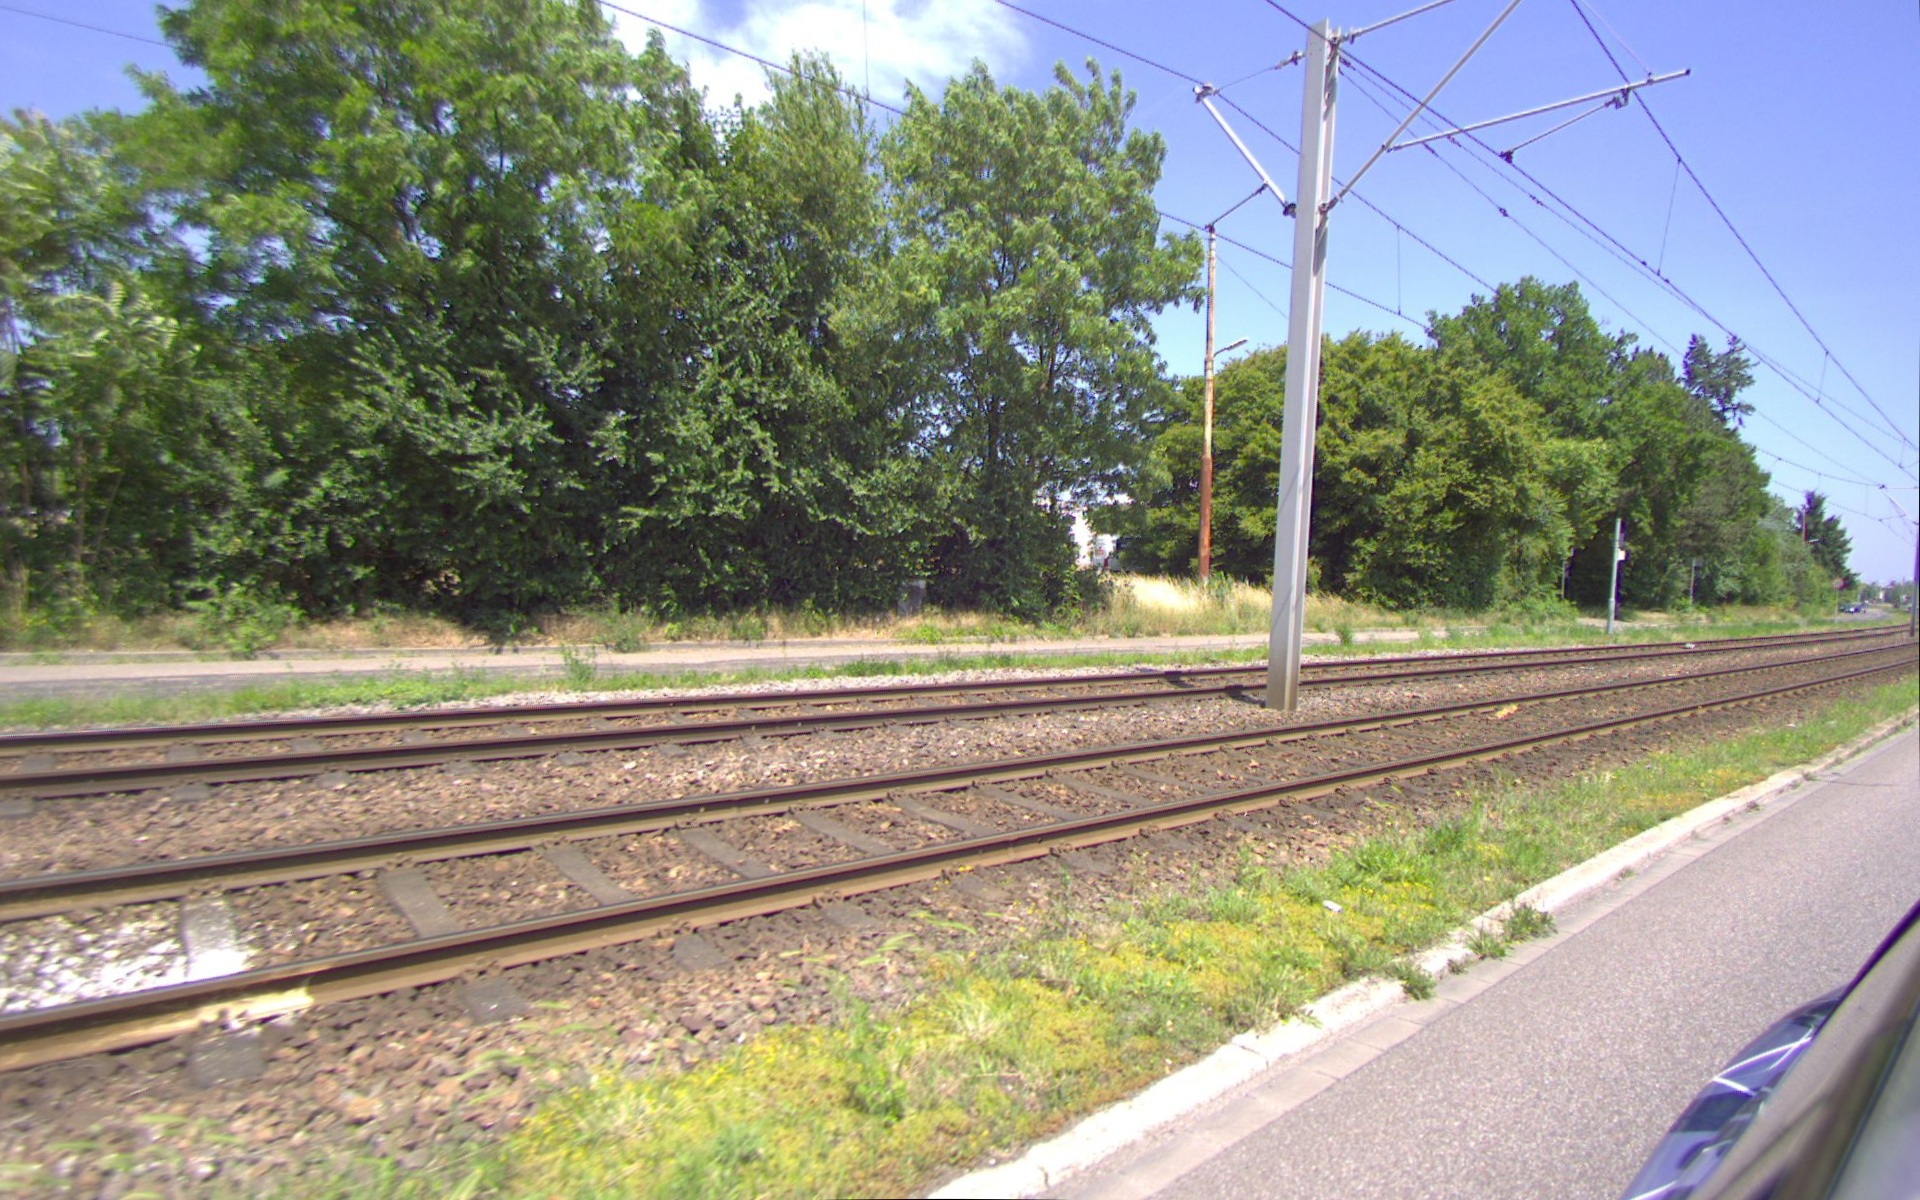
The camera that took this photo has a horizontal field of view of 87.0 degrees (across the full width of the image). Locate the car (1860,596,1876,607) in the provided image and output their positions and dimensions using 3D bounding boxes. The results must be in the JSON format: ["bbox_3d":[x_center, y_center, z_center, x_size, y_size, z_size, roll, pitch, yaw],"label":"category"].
[{"bbox_3d":[147.457,0.268,164.341,1.940,1.716,3.938,0,1,43],"label":"car"}]

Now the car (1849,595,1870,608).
[{"bbox_3d":[125.451,0.247,141.127,3.934,1.742,1.995,-1,1,-44],"label":"car"}]
